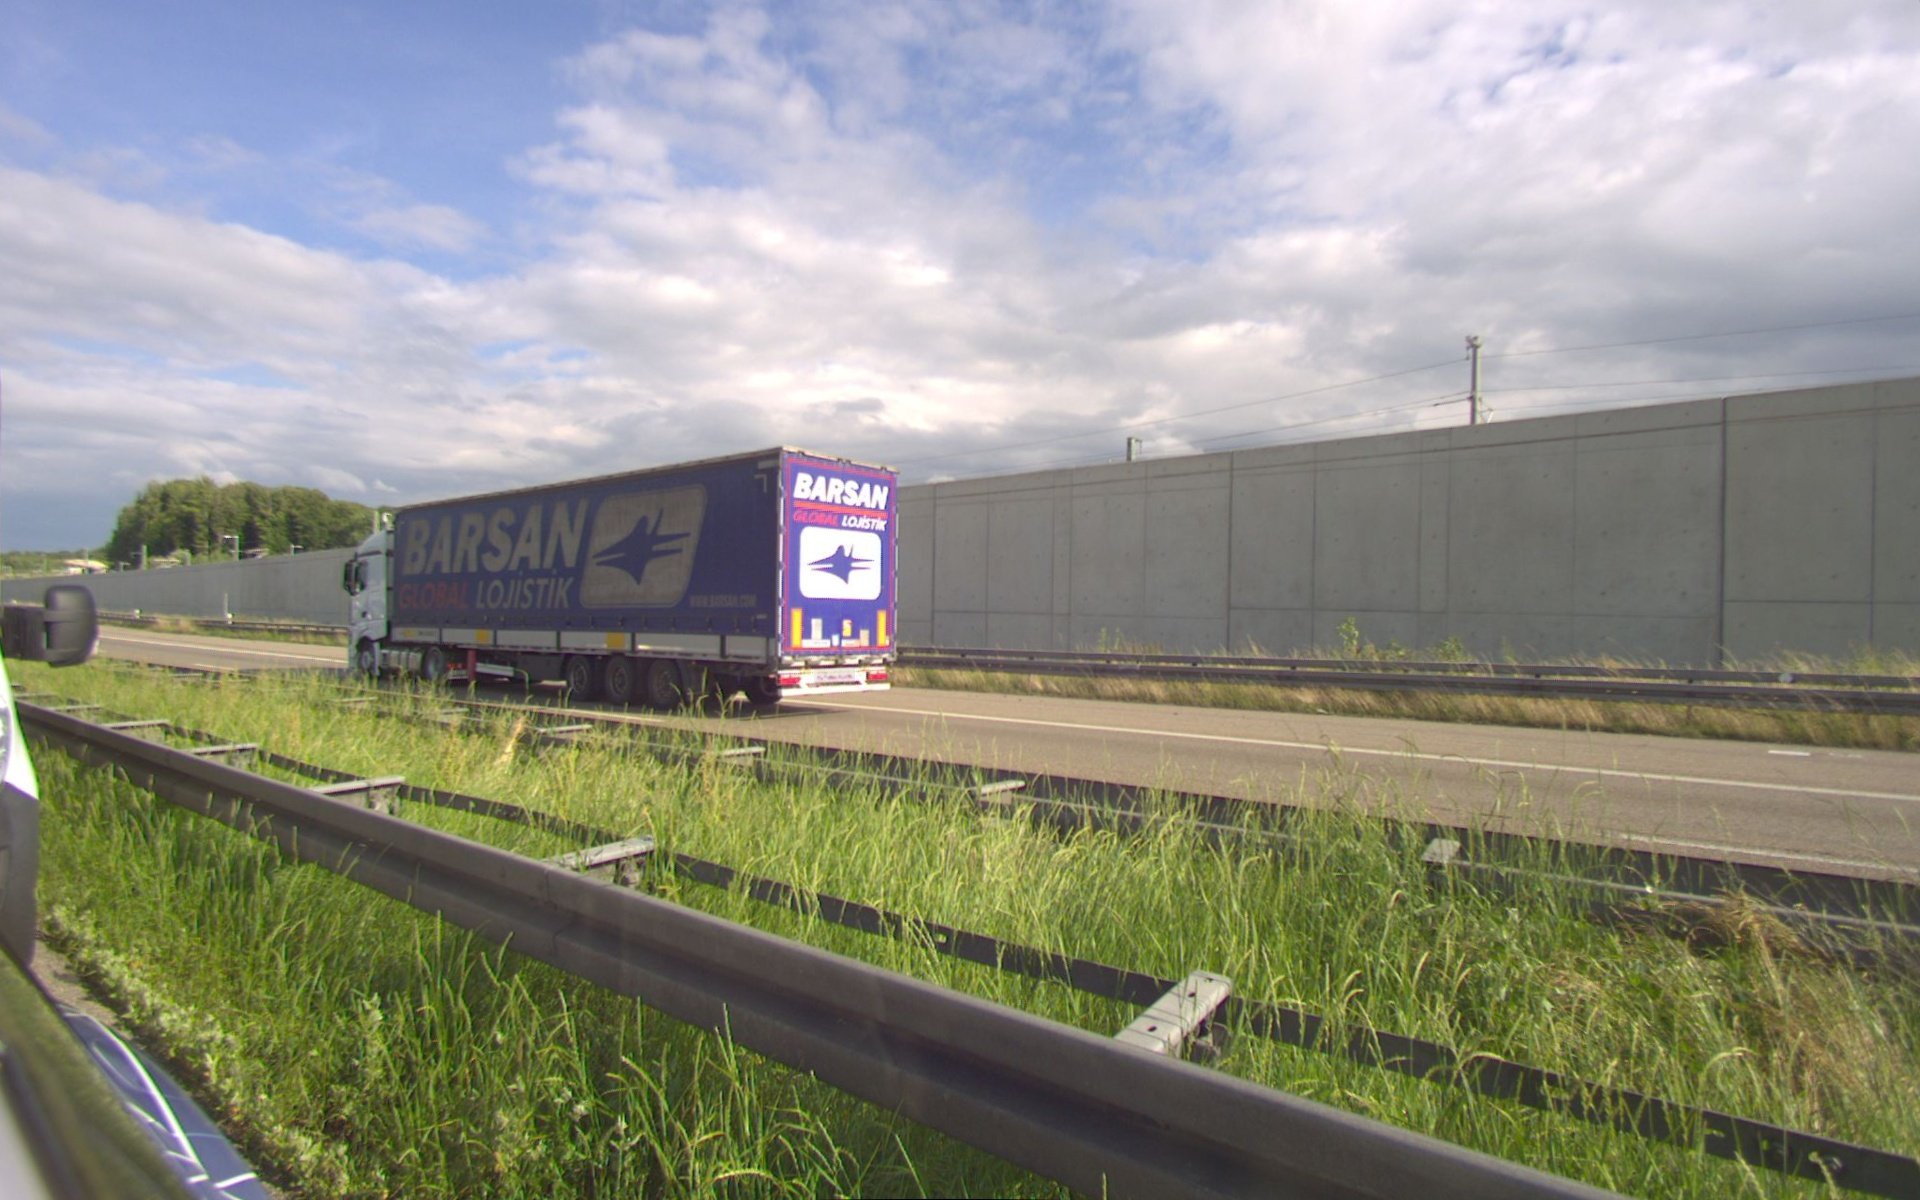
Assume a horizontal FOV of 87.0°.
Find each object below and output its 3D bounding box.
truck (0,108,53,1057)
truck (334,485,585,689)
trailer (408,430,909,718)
[{"bbox_3d":[-6.673,-0.035,5.238,7.800,3.129,2.033,0,0,41],"label":"truck"},{"bbox_3d":[-11.868,-0.258,23.709,6.995,4.129,2.612,-1,0,39],"label":"truck"},{"bbox_3d":[-6.483,-0.335,19.370,12.382,4.111,2.628,-1,0,39],"label":"trailer"}]
